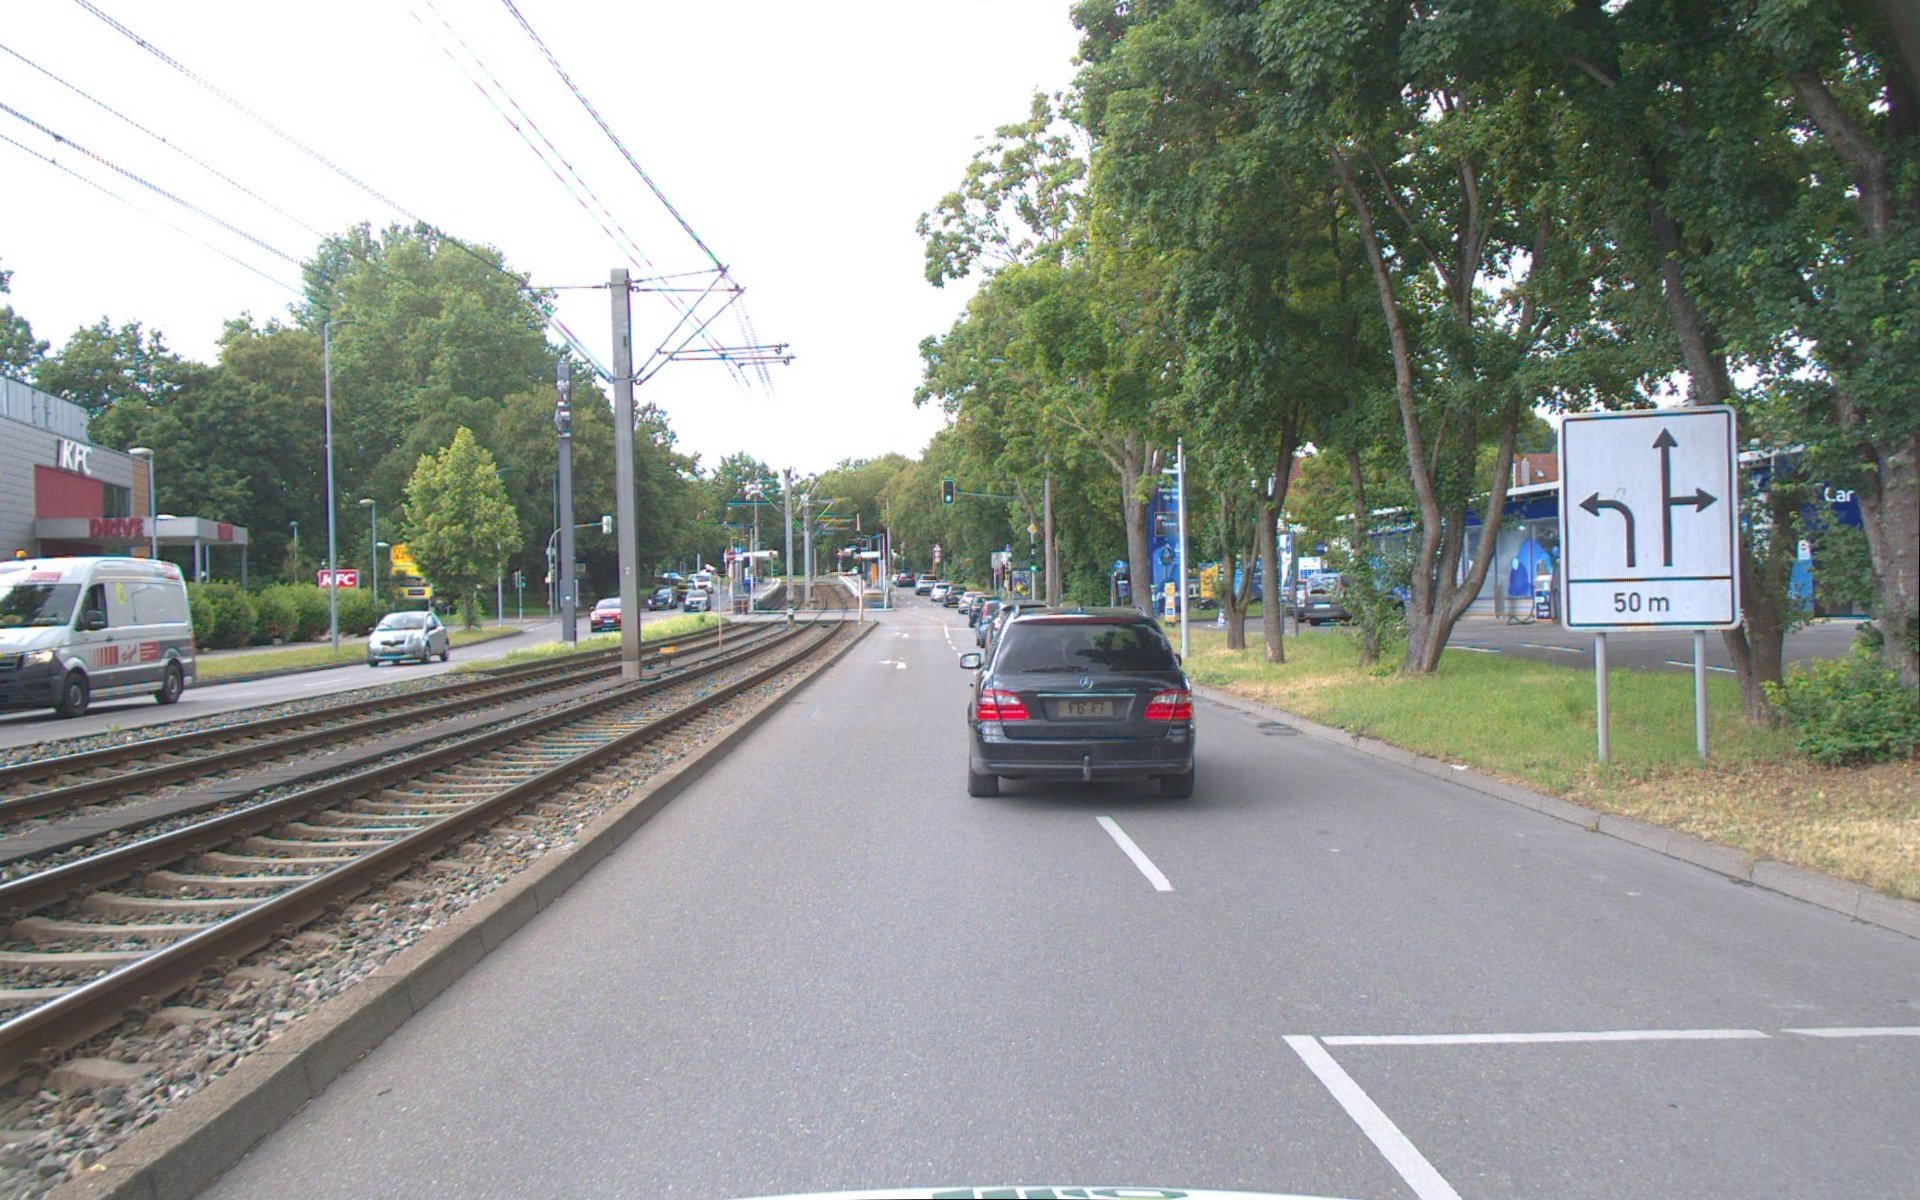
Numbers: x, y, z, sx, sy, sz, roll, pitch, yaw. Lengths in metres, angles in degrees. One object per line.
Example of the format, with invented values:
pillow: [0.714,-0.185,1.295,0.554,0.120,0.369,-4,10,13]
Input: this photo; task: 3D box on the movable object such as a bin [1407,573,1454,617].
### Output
movable object such as a bin: [16.763,-0.167,58.966,1.136,1.500,1.386,-2,0,-6]

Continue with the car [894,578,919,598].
car: [-5.737,-1.285,176.405,1.959,2.049,3.986,1,0,-13]

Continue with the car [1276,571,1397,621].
car: [14.349,-0.150,63.025,4.137,1.727,1.830,-2,1,-20]

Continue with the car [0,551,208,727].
car: [-14.537,0.605,27.253,1.832,2.542,5.994,-3,0,-4]

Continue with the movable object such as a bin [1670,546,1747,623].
movable object such as a bin: [18.669,-0.380,41.309,1.136,1.850,1.454,-2,0,-6]

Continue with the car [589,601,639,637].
car: [-17.101,0.927,81.871,1.748,1.609,4.478,-3,0,-4]

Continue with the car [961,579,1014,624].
car: [1.228,0.091,75.236,1.955,1.952,3.995,1,0,-6]

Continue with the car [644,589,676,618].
car: [-22.638,0.262,124.874,1.955,2.049,4.242,-2,0,-6]

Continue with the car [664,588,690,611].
car: [-26.090,-0.069,152.570,1.955,2.049,4.101,-2,0,-6]

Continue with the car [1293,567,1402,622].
car: [13.863,-0.212,59.036,1.722,1.853,4.353,-2,0,45]

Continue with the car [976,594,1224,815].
car: [1.027,0.754,13.811,1.745,1.552,4.000,1,0,1]

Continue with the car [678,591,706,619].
car: [-18.620,0.344,115.005,1.664,1.893,3.995,1,0,-5]

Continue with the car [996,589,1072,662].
car: [1.779,0.608,40.852,1.745,1.677,4.000,1,0,1]

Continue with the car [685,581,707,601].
car: [-27.960,-0.904,175.241,1.955,2.049,4.101,-2,0,-6]

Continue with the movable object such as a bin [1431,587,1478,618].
movable object such as a bin: [16.731,0.097,55.970,1.136,0.993,1.187,-2,0,-6]

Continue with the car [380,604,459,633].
car: [-30.373,1.029,92.969,3.801,1.432,1.846,-2,0,-2]

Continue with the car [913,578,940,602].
car: [-3.064,-0.890,150.193,1.957,2.049,3.991,1,0,-9]

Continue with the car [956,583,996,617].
car: [0.929,-0.002,98.177,1.955,1.926,3.995,1,0,-6]

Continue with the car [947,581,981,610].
car: [0.271,-0.294,115.386,1.955,2.001,3.995,1,0,-6]

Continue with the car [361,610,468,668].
car: [-16.147,1.131,49.147,1.954,1.508,3.997,-4,0,-3]

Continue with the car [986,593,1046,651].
car: [1.705,0.657,51.060,1.745,1.677,4.000,1,0,1]

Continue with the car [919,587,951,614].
car: [-1.997,0.047,131.819,1.957,2.049,3.991,1,0,-9]

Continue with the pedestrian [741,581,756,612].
pedestrian: [-15.363,-0.269,120.235,0.950,2.224,0.975,-1,0,-4]
